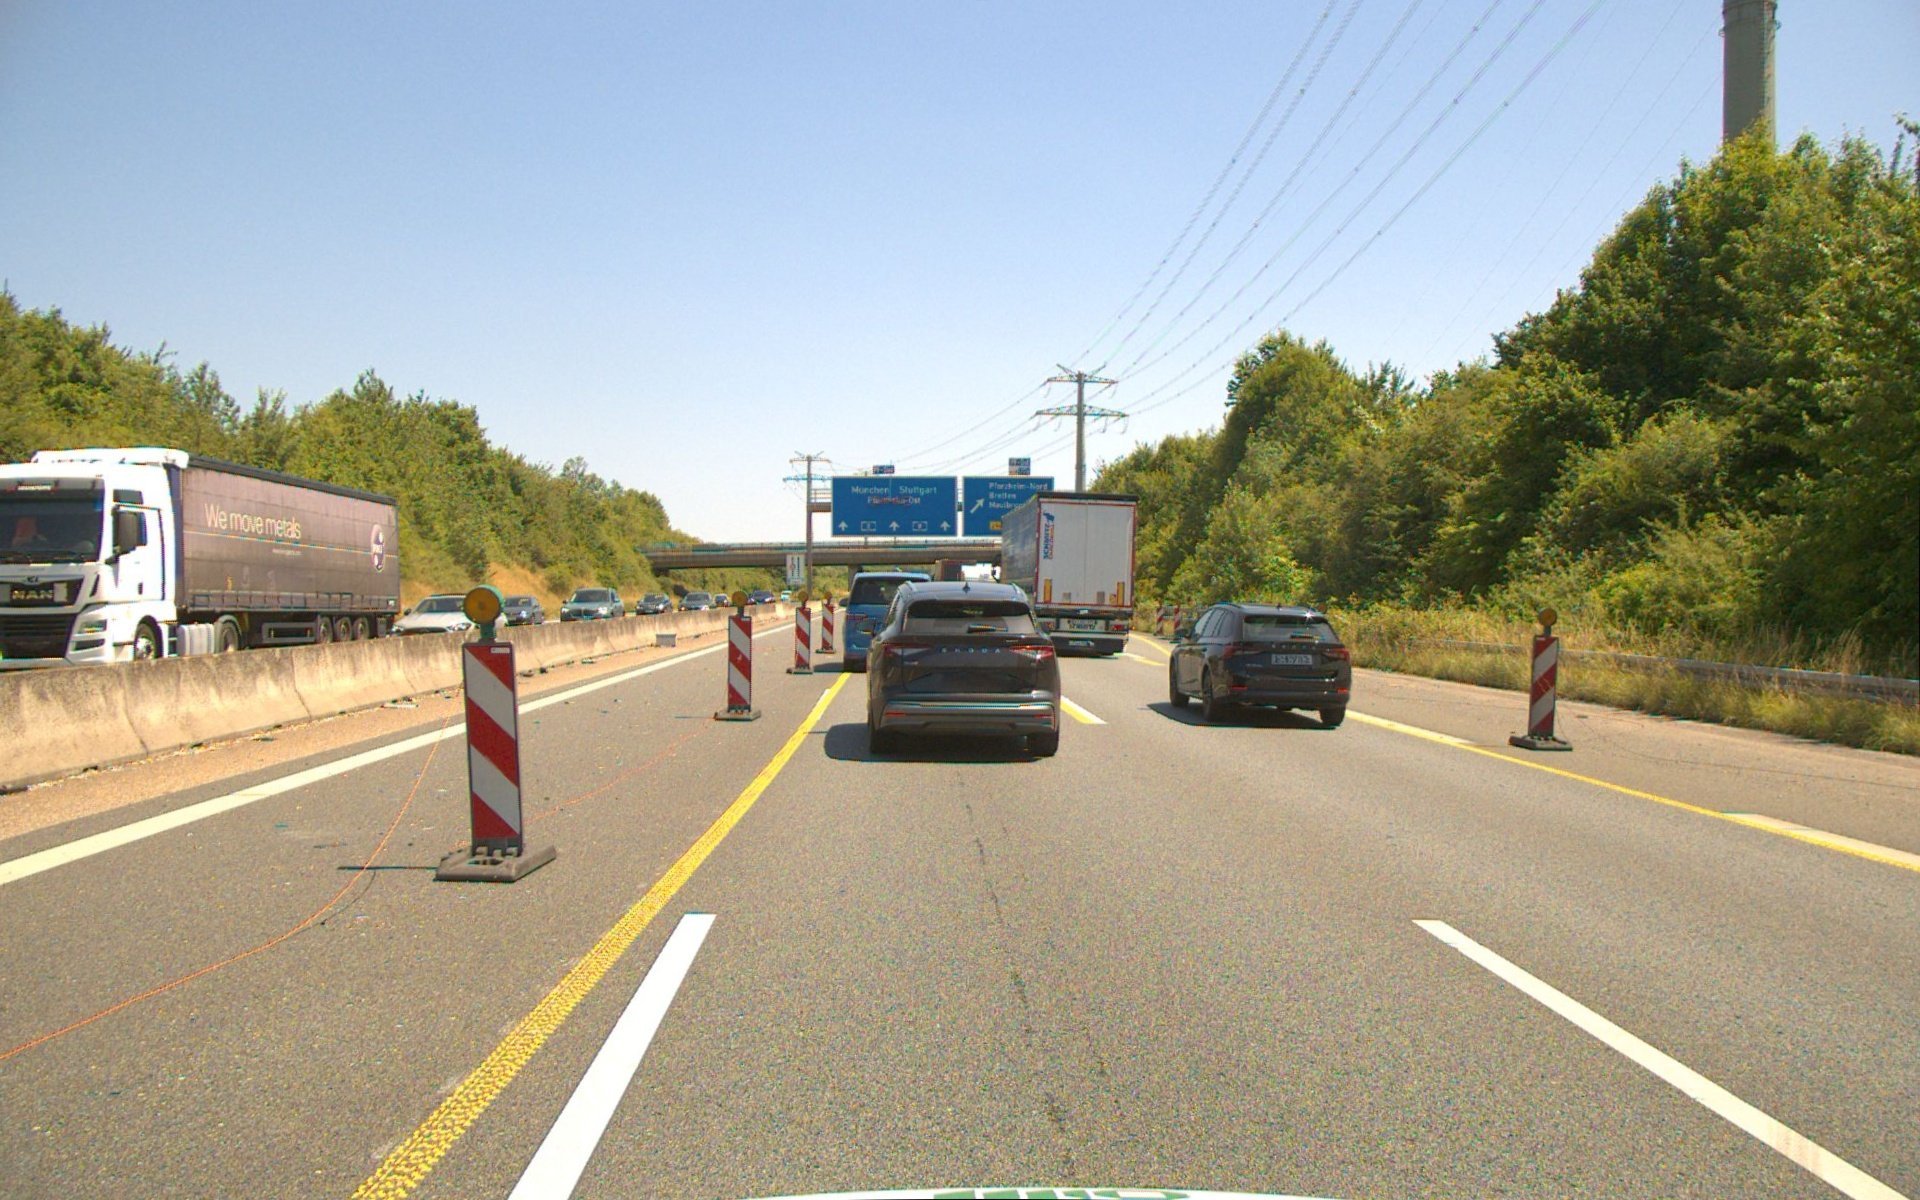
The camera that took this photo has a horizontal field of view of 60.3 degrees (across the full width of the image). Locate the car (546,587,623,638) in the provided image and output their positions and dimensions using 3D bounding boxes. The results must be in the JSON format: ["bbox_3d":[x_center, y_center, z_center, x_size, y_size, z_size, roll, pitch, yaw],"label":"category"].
[{"bbox_3d":[-13.250,0.417,58.612,1.804,1.744,4.394,0,0,-1],"label":"car"}]

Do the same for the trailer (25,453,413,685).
[{"bbox_3d":[-15.901,-0.622,37.303,3.097,4.253,13.678,0,0,-2],"label":"trailer"}]

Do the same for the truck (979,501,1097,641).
[{"bbox_3d":[2.376,-0.894,53.425,2.964,4.158,7.790,1,0,-3],"label":"truck"}]

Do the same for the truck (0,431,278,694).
[{"bbox_3d":[-15.647,-0.637,30.712,3.100,4.298,7.412,0,0,-2],"label":"truck"}]

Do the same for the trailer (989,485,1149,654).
[{"bbox_3d":[2.791,-0.789,46.436,3.004,4.113,11.480,1,0,-3],"label":"trailer"}]

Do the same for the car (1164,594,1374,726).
[{"bbox_3d":[3.942,0.705,21.824,1.743,1.515,4.462,2,0,-2],"label":"car"}]

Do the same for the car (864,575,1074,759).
[{"bbox_3d":[-0.032,0.571,16.873,1.858,1.620,4.440,0,1,-3],"label":"car"}]

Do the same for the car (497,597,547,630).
[{"bbox_3d":[-19.927,0.589,75.390,1.473,1.421,4.086,0,0,-4],"label":"car"}]

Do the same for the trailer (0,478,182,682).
[{"bbox_3d":[-21.387,-0.423,37.272,2.430,4.253,12.080,0,0,-2],"label":"trailer"}]

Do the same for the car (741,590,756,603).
[{"bbox_3d":[-25.926,-0.428,202.766,1.469,1.575,3.999,0,0,-2],"label":"car"}]

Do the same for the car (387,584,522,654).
[{"bbox_3d":[-11.573,0.391,38.165,1.726,1.497,4.633,0,0,-1],"label":"car"}]

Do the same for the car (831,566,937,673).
[{"bbox_3d":[-1.535,0.359,33.031,1.858,1.873,4.439,4,0,-3],"label":"car"}]

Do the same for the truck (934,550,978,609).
[{"bbox_3d":[-0.395,-1.486,126.787,3.015,4.219,13.051,2,0,-1],"label":"truck"}]

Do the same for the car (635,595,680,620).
[{"bbox_3d":[-18.588,0.454,101.842,1.953,1.486,4.586,0,0,-1],"label":"car"}]

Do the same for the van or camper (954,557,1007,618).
[{"bbox_3d":[1.045,-0.666,88.976,2.534,3.019,6.083,4,0,-1],"label":"van or camper"}]

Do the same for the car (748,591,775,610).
[{"bbox_3d":[-15.817,0.052,131.882,1.812,1.486,4.486,0,0,-3],"label":"car"}]
